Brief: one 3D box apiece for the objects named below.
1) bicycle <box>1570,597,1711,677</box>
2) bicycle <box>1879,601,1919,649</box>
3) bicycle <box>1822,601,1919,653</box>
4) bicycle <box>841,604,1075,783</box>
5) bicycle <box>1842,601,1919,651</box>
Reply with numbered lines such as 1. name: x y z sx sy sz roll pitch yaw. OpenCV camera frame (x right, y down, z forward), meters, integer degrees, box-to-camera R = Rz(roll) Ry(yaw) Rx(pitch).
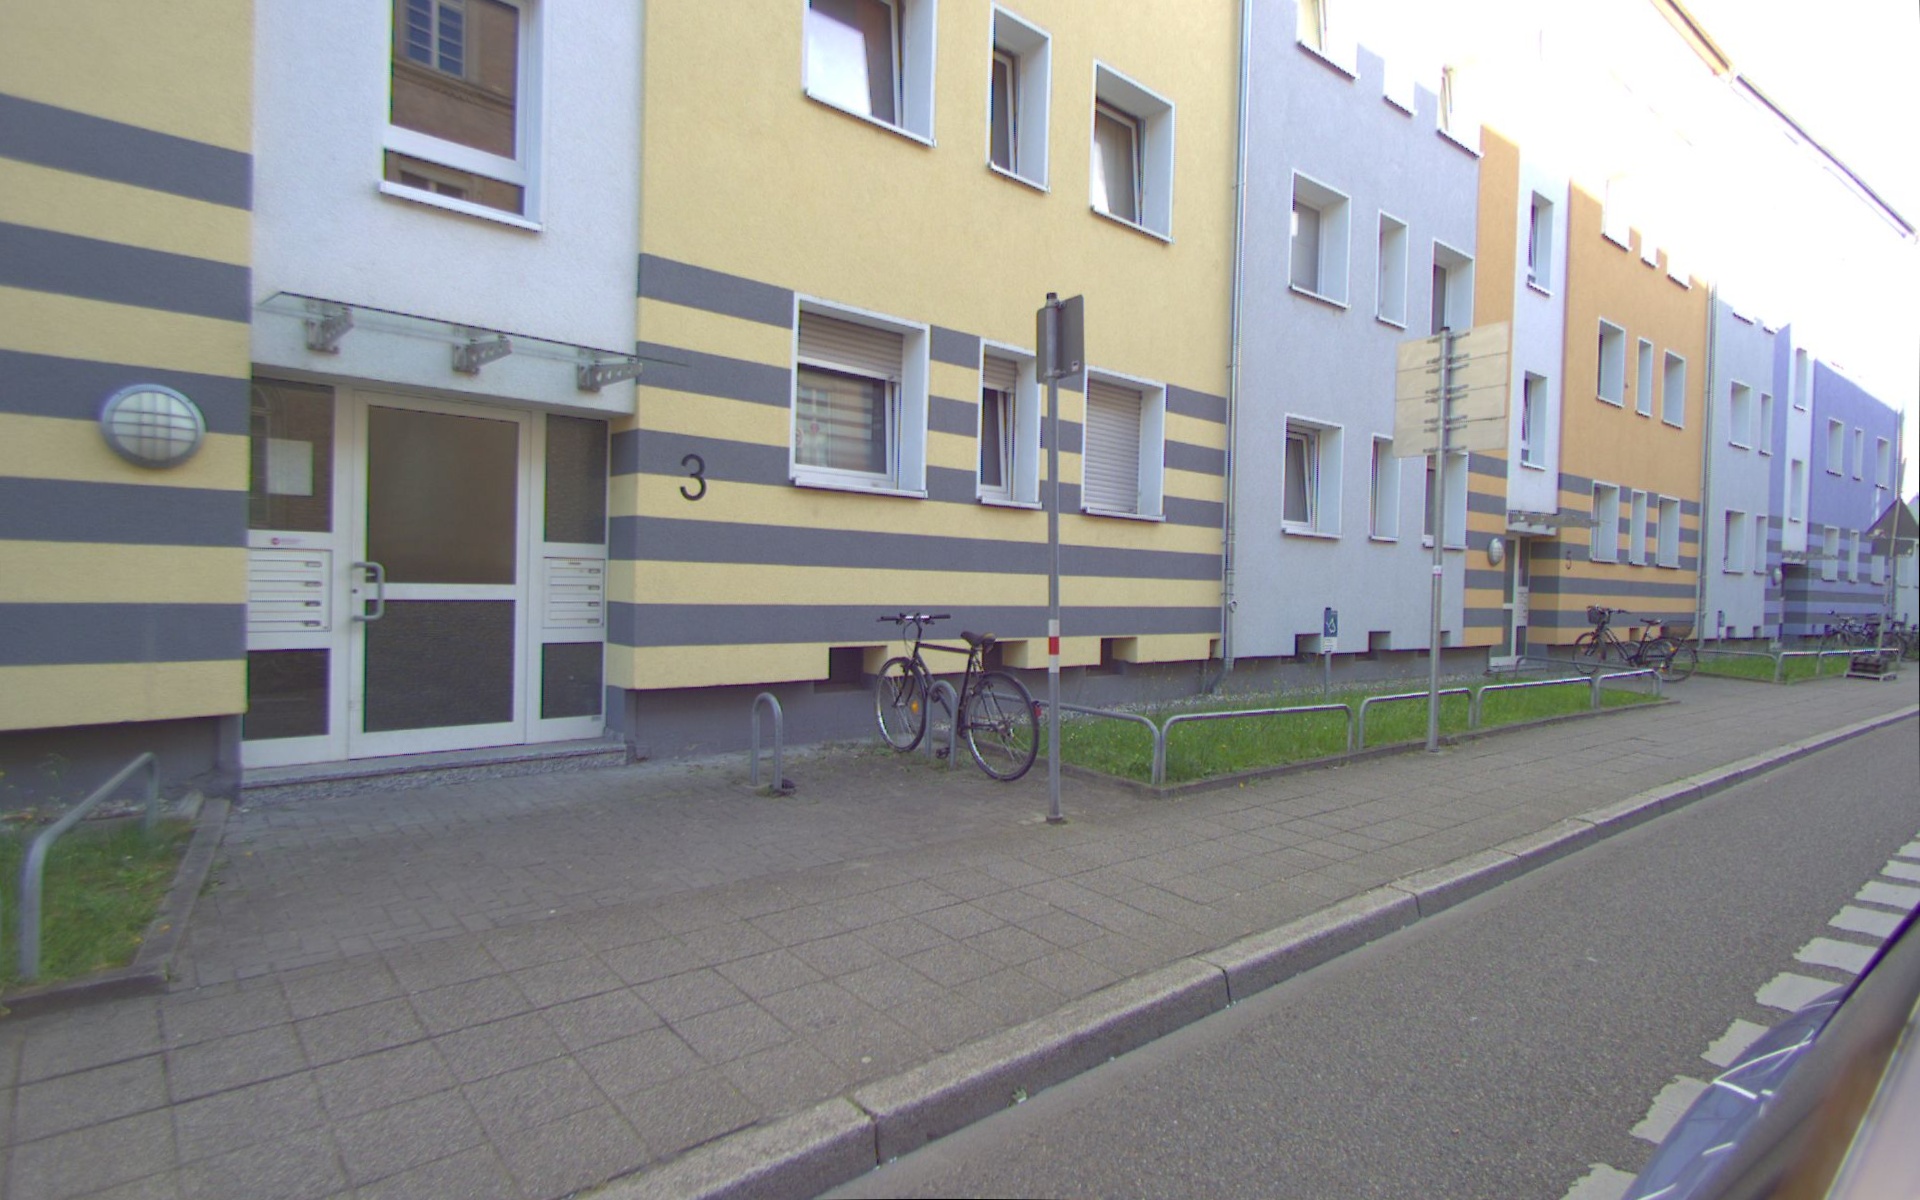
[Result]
1. bicycle: 10.695 0.552 15.948 1.775 1.137 0.476 3 1 44
2. bicycle: 24.143 0.645 25.280 0.475 1.166 1.678 1 1 -37
3. bicycle: 22.234 0.650 24.731 0.475 1.166 1.678 1 1 -37
4. bicycle: -0.067 0.578 7.020 1.775 1.031 0.476 3 1 44
5. bicycle: 23.315 0.633 25.423 0.475 1.166 1.678 1 1 -37
